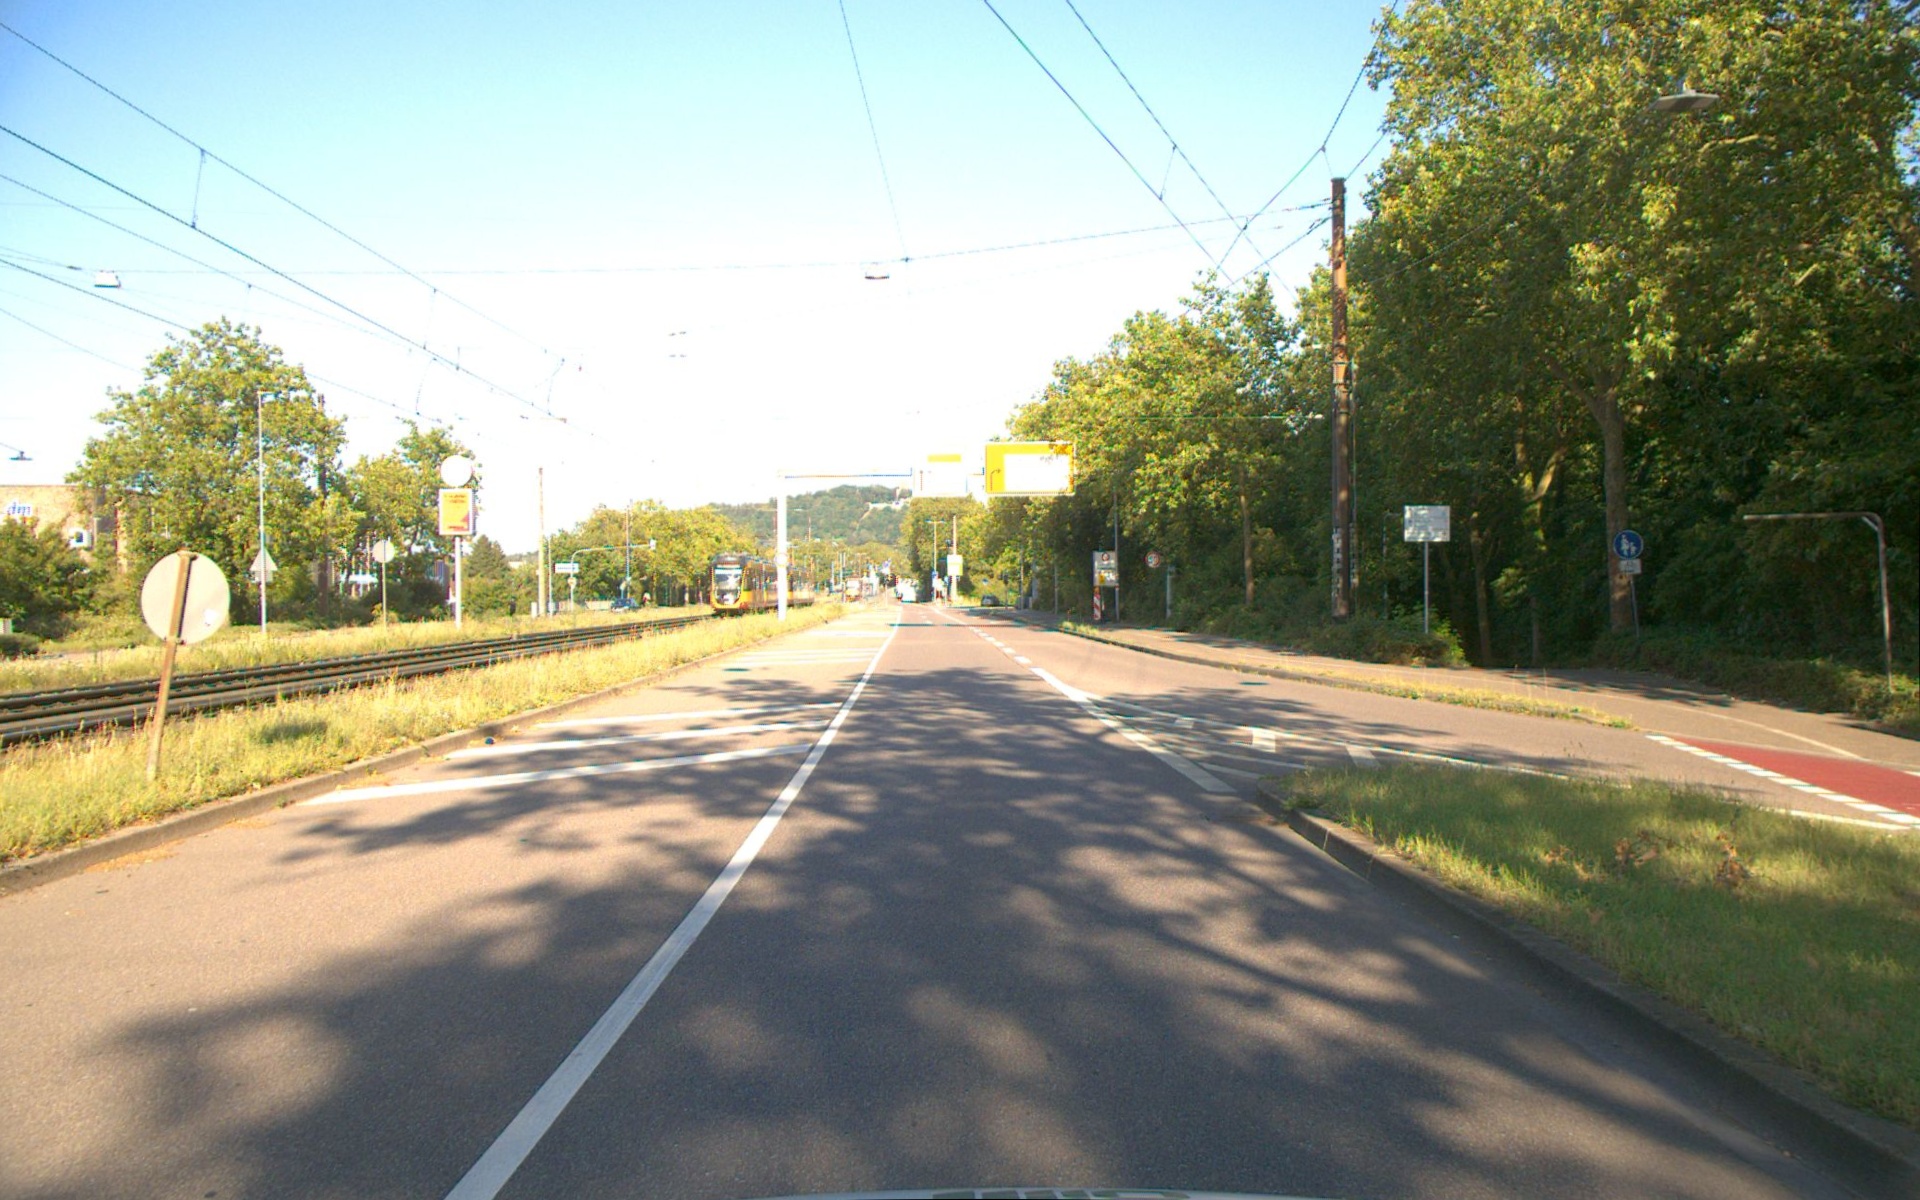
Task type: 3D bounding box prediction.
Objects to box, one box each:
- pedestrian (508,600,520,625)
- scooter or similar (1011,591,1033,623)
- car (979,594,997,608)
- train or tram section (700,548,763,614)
[{"bbox_3d":[-32.497,0.899,120.451,0.529,1.853,0.651,0,0,20],"label":"pedestrian"},{"bbox_3d":[5.505,0.594,146.181,1.647,2.763,4.867,0,0,-1],"label":"scooter or similar"},{"bbox_3d":[3.407,0.105,200.575,2.042,1.593,3.957,1,0,4],"label":"car"},{"bbox_3d":[-14.560,-1.168,106.325,2.748,3.971,12.326,1,0,-2],"label":"train or tram section"}]
